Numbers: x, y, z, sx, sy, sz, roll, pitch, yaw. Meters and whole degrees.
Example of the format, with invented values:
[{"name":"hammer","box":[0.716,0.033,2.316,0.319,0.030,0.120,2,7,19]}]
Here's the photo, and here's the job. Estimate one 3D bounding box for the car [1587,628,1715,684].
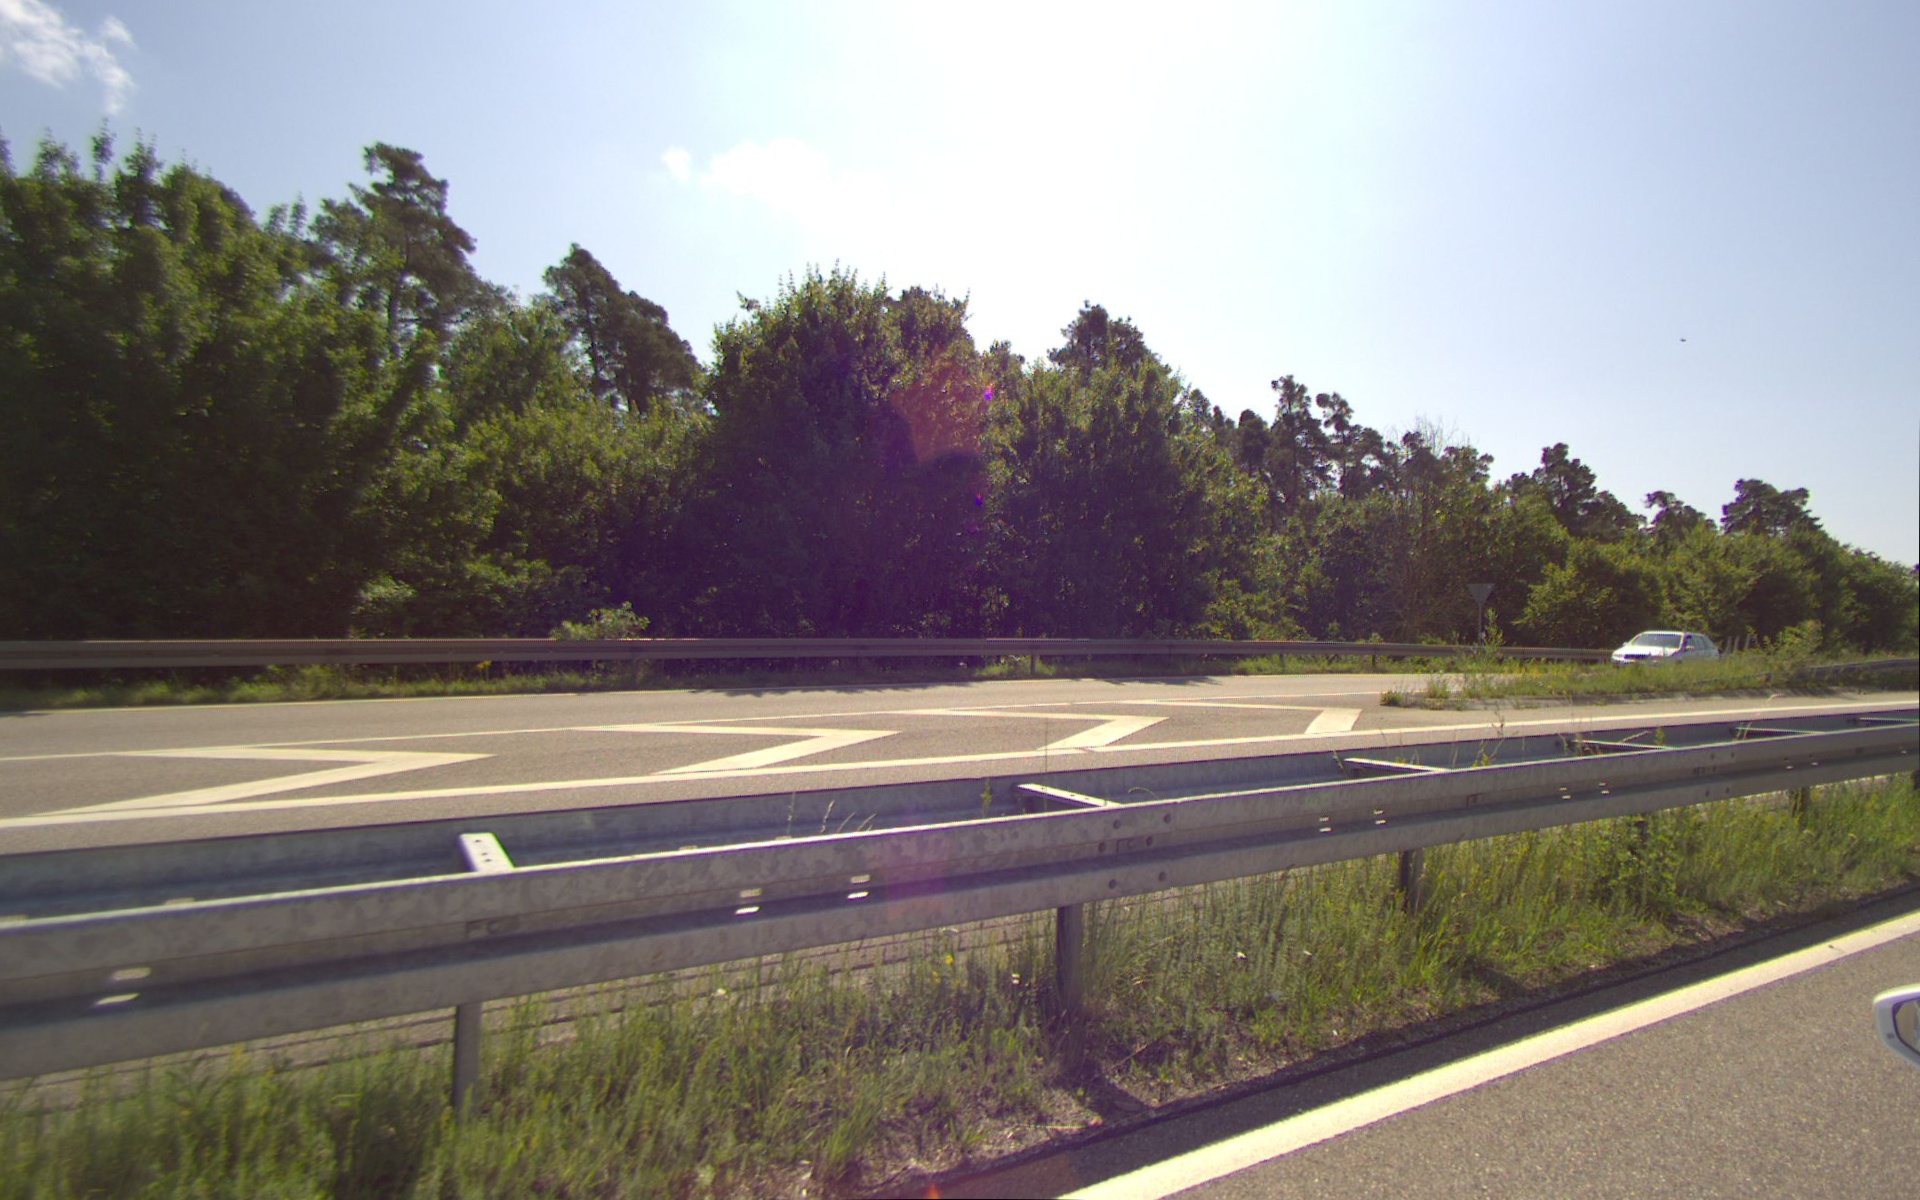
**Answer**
[{"name":"car","box":[19.974,1.564,28.996,4.168,1.447,1.668,1,0,-35]}]
